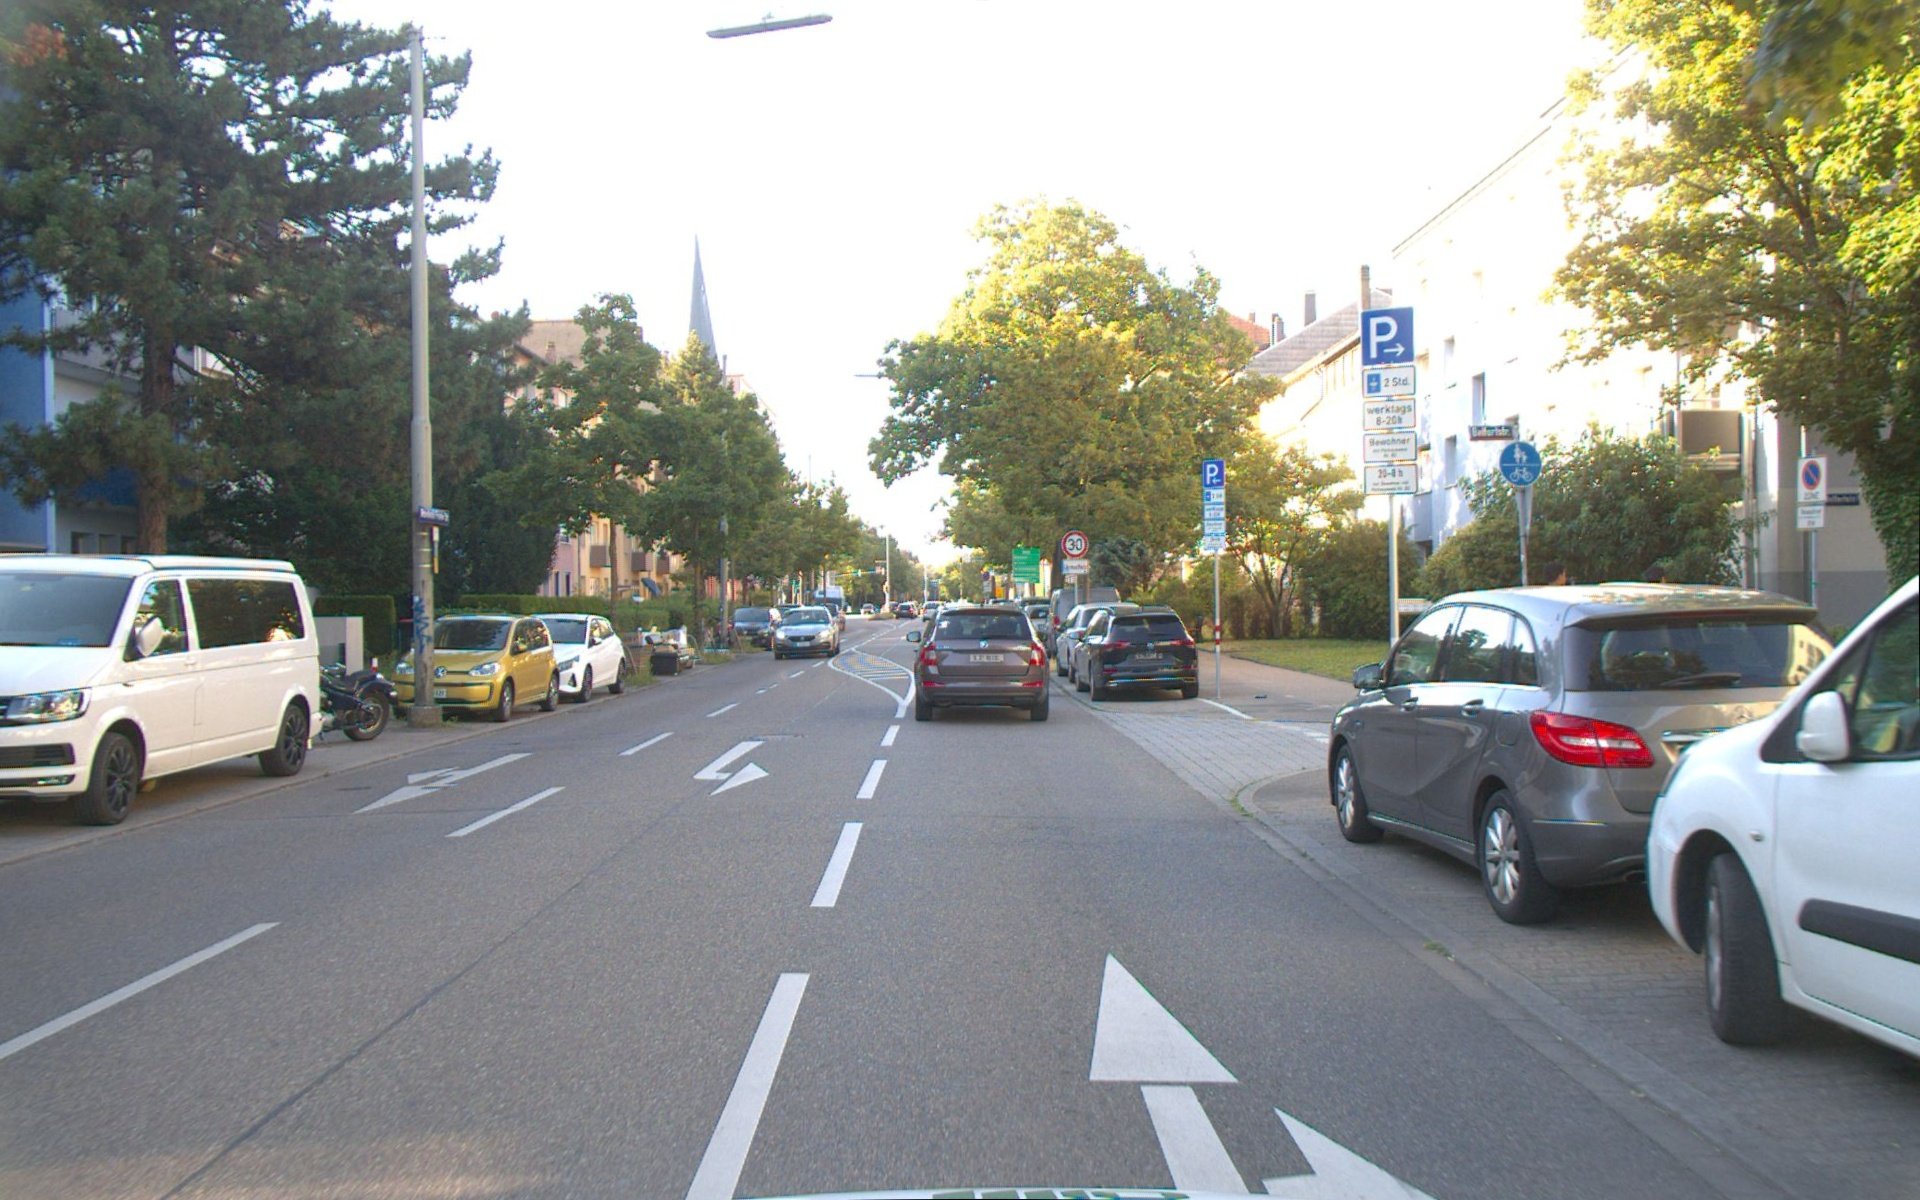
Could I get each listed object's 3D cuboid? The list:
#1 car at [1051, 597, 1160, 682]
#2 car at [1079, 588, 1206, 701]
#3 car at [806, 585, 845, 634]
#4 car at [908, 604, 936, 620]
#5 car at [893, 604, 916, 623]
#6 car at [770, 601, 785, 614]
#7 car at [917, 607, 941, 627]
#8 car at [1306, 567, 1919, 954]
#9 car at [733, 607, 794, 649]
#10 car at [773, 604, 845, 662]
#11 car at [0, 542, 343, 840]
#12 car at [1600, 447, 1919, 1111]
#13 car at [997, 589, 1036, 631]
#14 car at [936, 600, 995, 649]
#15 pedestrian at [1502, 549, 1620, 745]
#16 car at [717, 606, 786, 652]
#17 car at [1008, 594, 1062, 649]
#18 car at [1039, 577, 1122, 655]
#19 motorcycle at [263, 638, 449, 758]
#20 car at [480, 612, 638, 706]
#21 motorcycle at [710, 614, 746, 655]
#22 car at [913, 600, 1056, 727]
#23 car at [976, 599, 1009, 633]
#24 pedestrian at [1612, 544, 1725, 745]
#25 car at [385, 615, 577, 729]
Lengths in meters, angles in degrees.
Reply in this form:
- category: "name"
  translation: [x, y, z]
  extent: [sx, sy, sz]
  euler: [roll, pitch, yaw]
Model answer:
- category: "car"
  translation: [2.866, 0.754, 33.339]
  extent: [1.719, 1.584, 4.103]
  euler: [1, 0, -2]
- category: "car"
  translation: [2.951, 0.689, 27.527]
  extent: [1.718, 1.716, 4.252]
  euler: [1, 0, 1]
- category: "car"
  translation: [-8.008, 0.575, 98.757]
  extent: [1.951, 2.830, 5.502]
  euler: [1, 0, -1]
- category: "car"
  translation: [-4.231, 1.314, 182.108]
  extent: [1.963, 1.780, 3.979]
  euler: [-1, 0, -18]
- category: "car"
  translation: [-5.390, 1.265, 159.674]
  extent: [1.955, 1.780, 3.995]
  euler: [-1, 0, -6]
- category: "car"
  translation: [-24.928, 1.014, 225.989]
  extent: [1.956, 1.780, 3.993]
  euler: [-1, 0, -8]
- category: "car"
  translation: [-2.539, 1.336, 132.758]
  extent: [1.745, 1.506, 3.968]
  euler: [1, 0, -4]
- category: "car"
  translation: [3.357, 0.681, 9.234]
  extent: [1.719, 1.584, 4.250]
  euler: [-2, 0, -3]
- category: "car"
  translation: [-7.500, 1.052, 63.587]
  extent: [1.744, 1.506, 3.972]
  euler: [1, 0, 2]
- category: "car"
  translation: [-4.453, 0.939, 49.217]
  extent: [1.704, 1.505, 4.308]
  euler: [-4, 0, -1]
- category: "car"
  translation: [-7.112, 0.631, 14.076]
  extent: [1.831, 2.067, 5.299]
  euler: [0, 0, -1]
- category: "car"
  translation: [3.554, 0.505, 4.480]
  extent: [1.764, 1.840, 4.421]
  euler: [1, 0, -3]
- category: "car"
  translation: [2.546, 0.442, 75.455]
  extent: [1.718, 1.837, 4.000]
  euler: [1, 0, 1]
- category: "car"
  translation: [0.152, 0.841, 56.193]
  extent: [1.854, 1.533, 3.788]
  euler: [3, -1, -1]
- category: "pedestrian"
  translation: [6.038, 0.460, 16.673]
  extent: [0.733, 1.893, 1.068]
  euler: [-2, 0, -1]
- category: "car"
  translation: [-7.209, 0.978, 57.512]
  extent: [1.744, 1.506, 4.034]
  euler: [1, 0, 2]
- category: "car"
  translation: [2.497, 0.699, 55.860]
  extent: [1.718, 1.745, 4.000]
  euler: [1, 0, 1]
- category: "car"
  translation: [3.108, 0.406, 43.598]
  extent: [1.877, 1.893, 5.633]
  euler: [-1, 0, 1]
- category: "motorcycle"
  translation: [-6.959, 1.101, 19.210]
  extent: [0.645, 1.225, 2.332]
  euler: [-2, 0, 20]
- category: "car"
  translation: [-7.059, 0.995, 29.502]
  extent: [1.744, 1.521, 3.972]
  euler: [1, 0, 2]
- category: "motorcycle"
  translation: [-7.213, 1.075, 51.551]
  extent: [0.724, 1.225, 2.142]
  euler: [1, 0, 2]
- category: "car"
  translation: [0.335, 0.765, 21.930]
  extent: [1.718, 1.518, 4.000]
  euler: [1, 0, 1]
- category: "car"
  translation: [1.797, 0.883, 92.218]
  extent: [1.718, 1.837, 4.000]
  euler: [1, 0, 0]
- category: "pedestrian"
  translation: [6.939, 0.427, 16.240]
  extent: [0.781, 1.893, 0.951]
  euler: [-2, 0, 10]
- category: "car"
  translation: [-6.979, 0.994, 24.481]
  extent: [1.585, 1.506, 3.872]
  euler: [1, 0, 2]
